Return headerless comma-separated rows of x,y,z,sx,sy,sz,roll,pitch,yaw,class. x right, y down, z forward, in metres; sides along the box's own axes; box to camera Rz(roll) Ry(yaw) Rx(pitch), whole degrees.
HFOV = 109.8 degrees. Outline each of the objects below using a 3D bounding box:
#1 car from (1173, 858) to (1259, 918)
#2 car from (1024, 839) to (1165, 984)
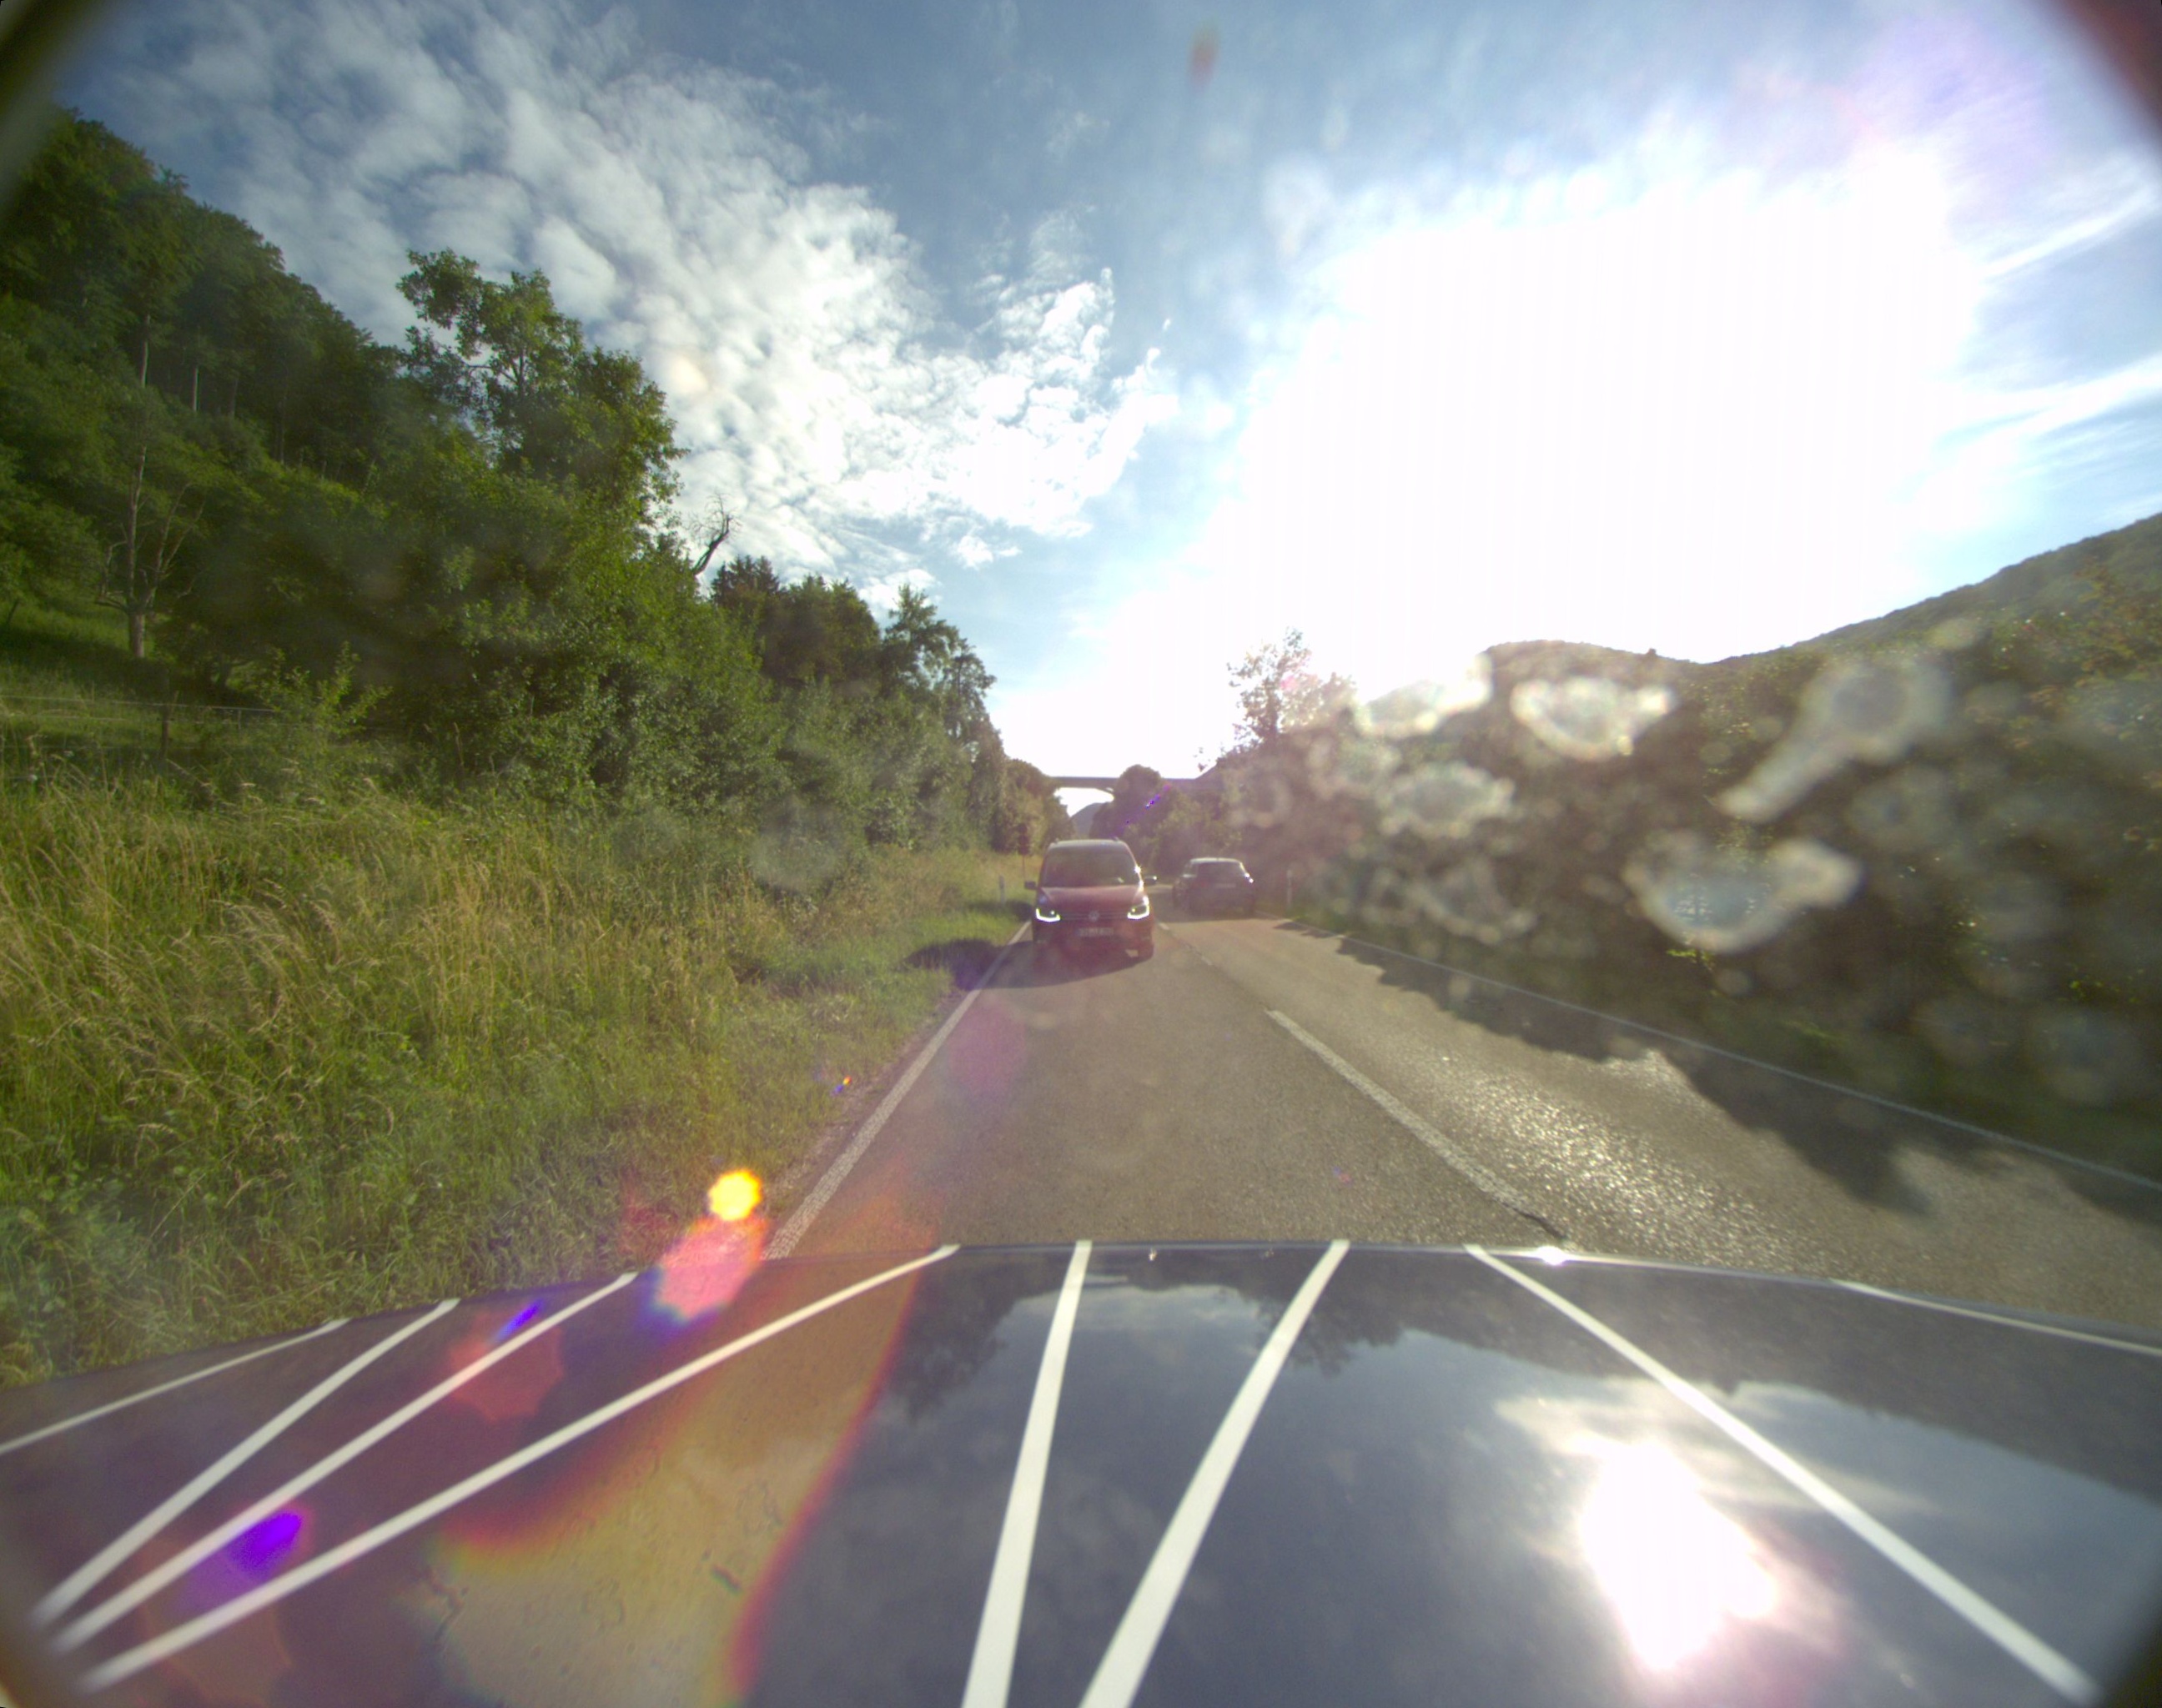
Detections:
3.487,0.831,20.257,1.631,1.407,3.789,0,0,0,car
0.191,0.724,11.973,1.753,1.800,4.287,-2,1,0,car
